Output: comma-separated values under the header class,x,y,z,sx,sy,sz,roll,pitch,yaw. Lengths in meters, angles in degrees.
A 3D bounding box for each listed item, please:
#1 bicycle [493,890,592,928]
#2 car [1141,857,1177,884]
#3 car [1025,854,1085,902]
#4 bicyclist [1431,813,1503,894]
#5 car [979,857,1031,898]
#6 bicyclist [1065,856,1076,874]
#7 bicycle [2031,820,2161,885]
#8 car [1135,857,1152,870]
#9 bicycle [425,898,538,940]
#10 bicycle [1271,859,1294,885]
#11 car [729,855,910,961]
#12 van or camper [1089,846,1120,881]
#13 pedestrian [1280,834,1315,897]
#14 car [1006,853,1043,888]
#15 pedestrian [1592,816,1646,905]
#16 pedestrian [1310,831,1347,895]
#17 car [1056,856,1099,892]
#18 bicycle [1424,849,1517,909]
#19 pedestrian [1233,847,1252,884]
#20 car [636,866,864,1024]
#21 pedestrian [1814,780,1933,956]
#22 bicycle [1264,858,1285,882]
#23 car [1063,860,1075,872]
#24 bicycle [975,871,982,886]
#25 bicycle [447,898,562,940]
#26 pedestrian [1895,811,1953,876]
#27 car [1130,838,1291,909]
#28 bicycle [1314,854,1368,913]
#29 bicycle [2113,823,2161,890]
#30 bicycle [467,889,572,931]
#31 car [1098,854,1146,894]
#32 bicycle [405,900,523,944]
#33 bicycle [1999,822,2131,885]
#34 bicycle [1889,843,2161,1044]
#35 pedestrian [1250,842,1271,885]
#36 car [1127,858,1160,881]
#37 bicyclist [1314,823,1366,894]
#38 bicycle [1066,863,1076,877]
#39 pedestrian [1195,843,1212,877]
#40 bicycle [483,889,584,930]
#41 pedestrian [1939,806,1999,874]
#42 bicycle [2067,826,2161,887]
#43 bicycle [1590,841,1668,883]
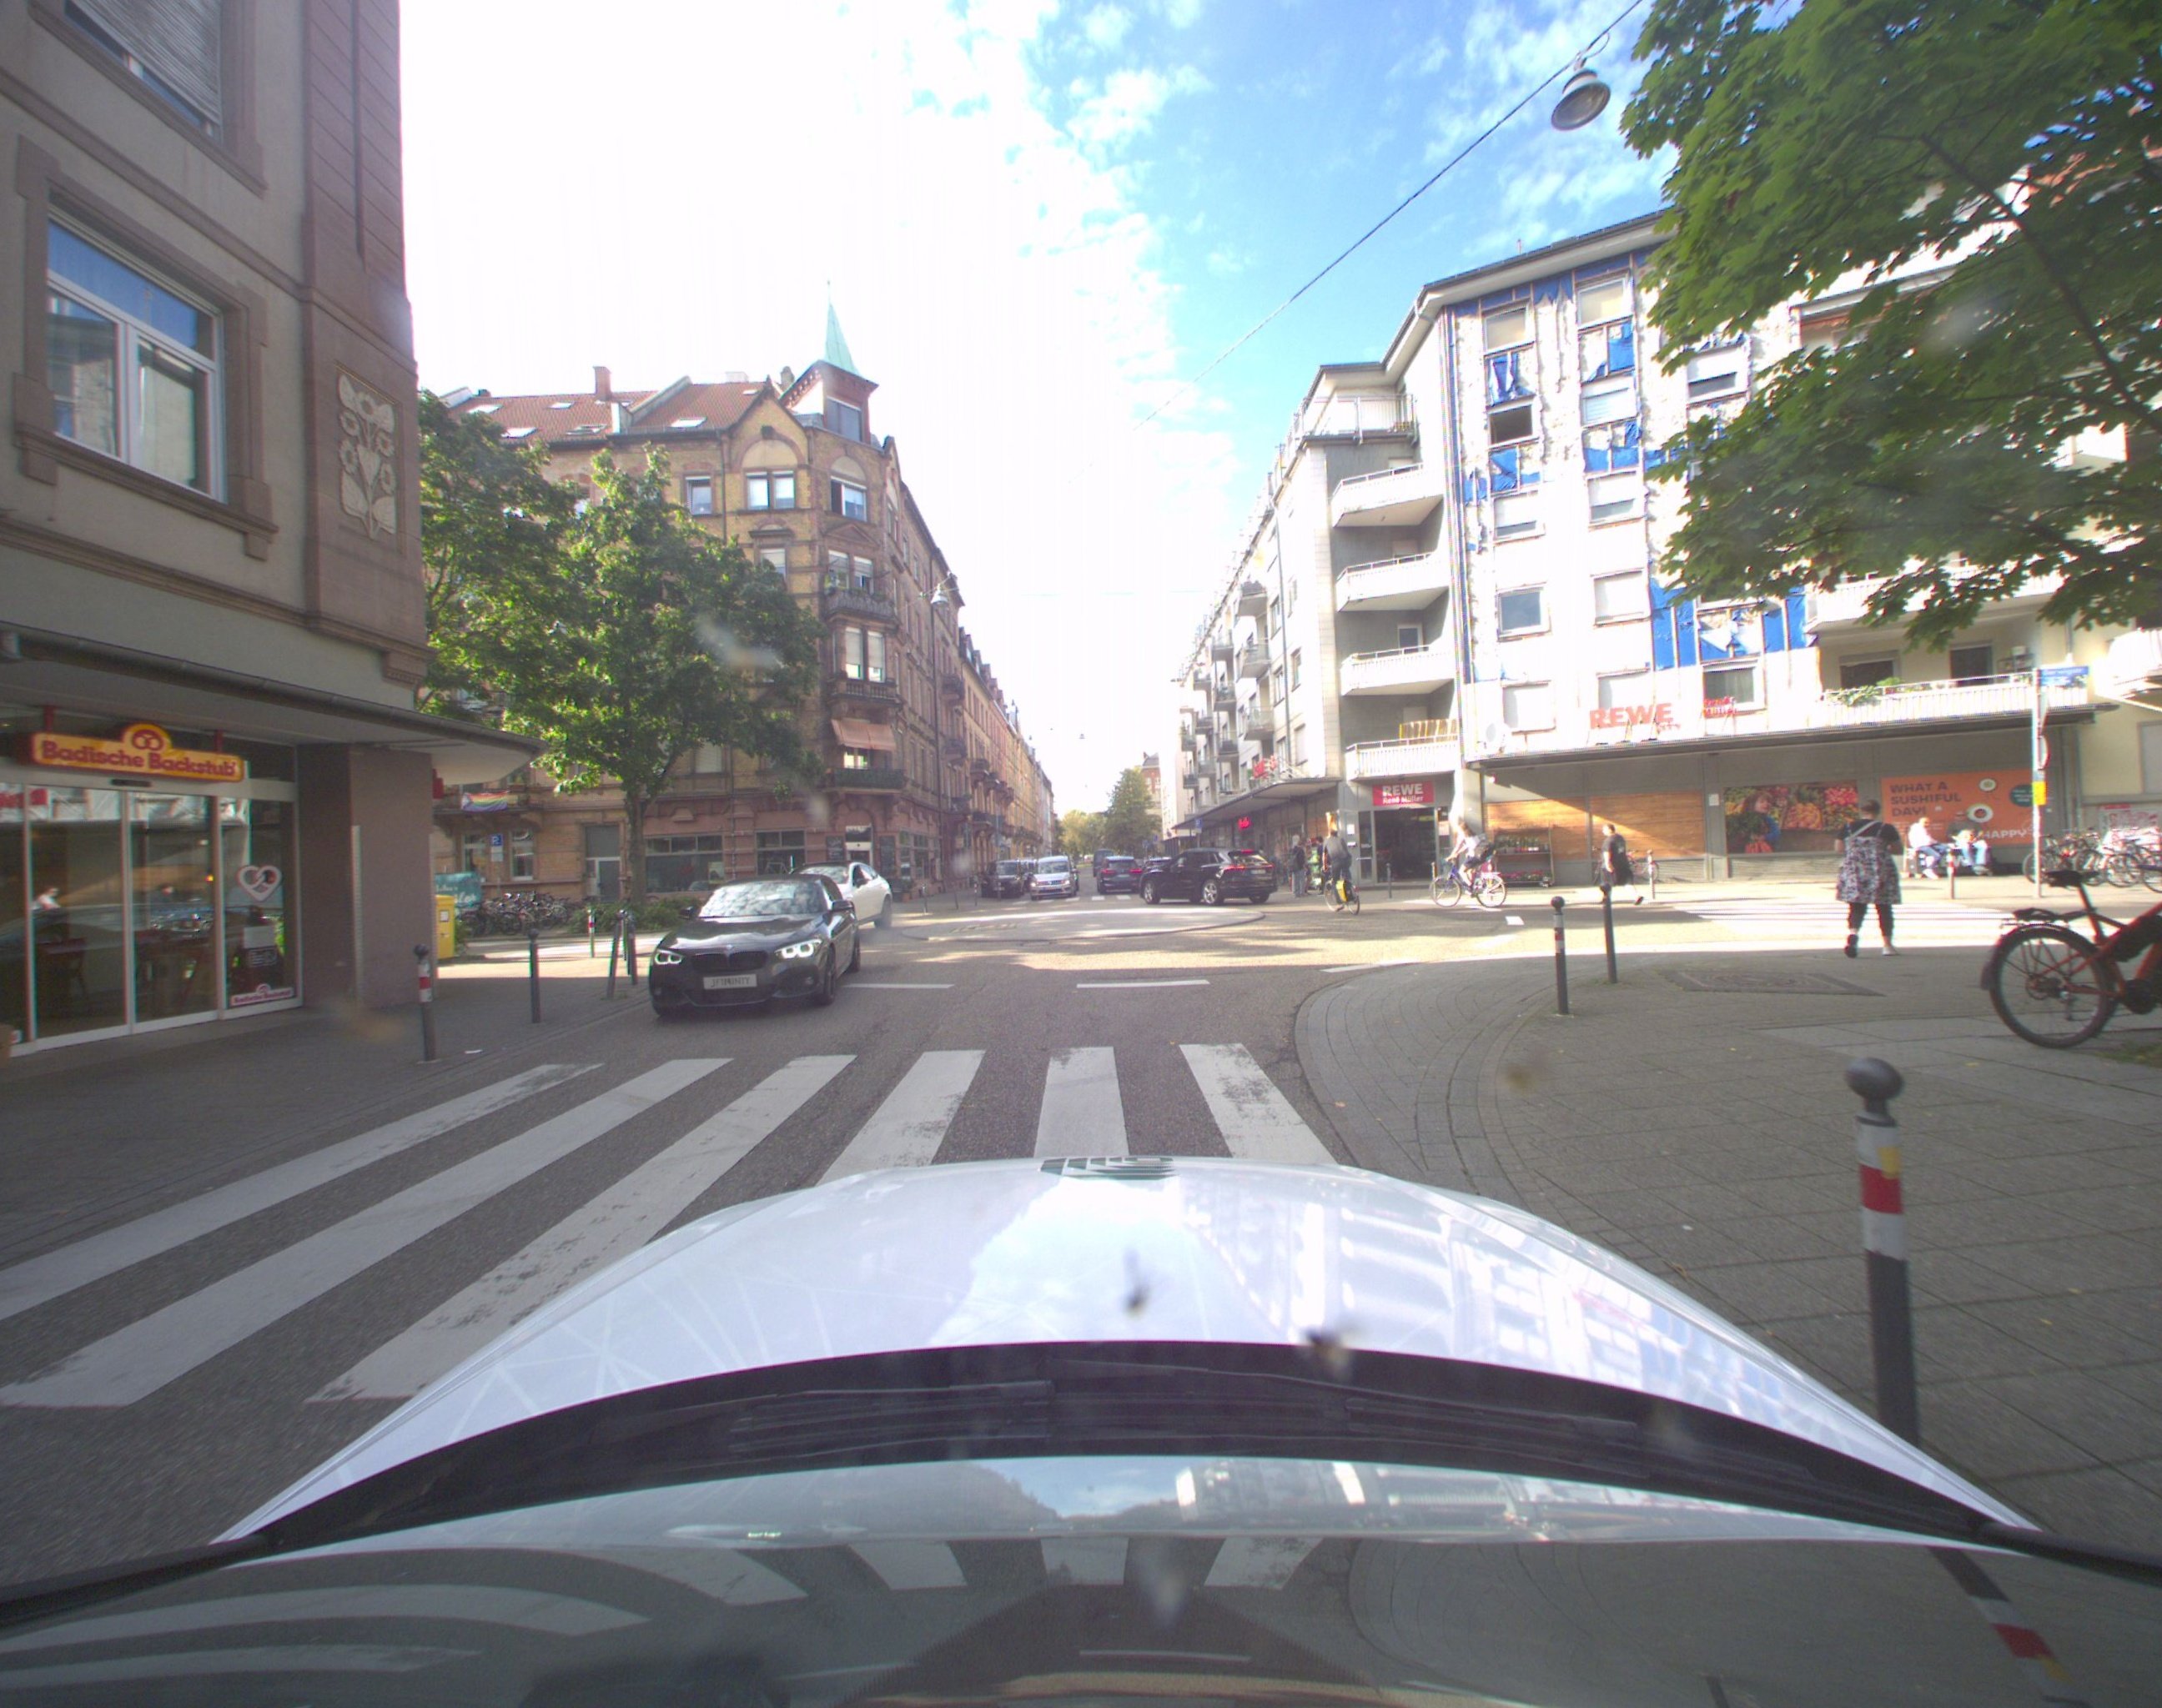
class,x,y,z,sx,sy,sz,roll,pitch,yaw
bicycle,-18.666,1.897,28.285,2.889,1.123,0.632,-3,-1,-3
car,4.253,0.873,44.737,1.639,1.324,3.578,-5,-1,2
car,-1.026,0.967,35.060,1.783,1.790,4.745,-4,-1,7
bicyclist,8.304,-0.006,17.569,0.940,1.668,1.013,-2,-1,-10
car,-3.616,1.100,39.307,1.775,1.724,4.449,-1,1,4
bicyclist,-1.152,1.174,87.323,1.130,1.998,1.027,0,-1,-4
bicycle,19.806,-0.035,15.801,2.131,1.141,0.485,-3,0,0
car,7.119,1.086,93.075,1.639,1.324,3.578,-5,-1,2
bicycle,-18.613,2.014,25.324,2.889,1.123,0.632,-3,-1,-3
bicycle,8.098,0.716,32.769,0.362,1.016,1.427,-2,0,-7
car,-5.355,1.008,17.506,1.934,1.722,4.855,-4,1,4
van or camper,2.149,0.827,75.289,2.524,3.037,4.456,-3,0,-1
pedestrian,6.521,0.337,24.547,0.864,1.851,0.613,-3,-1,6
car,-3.516,1.004,51.386,1.988,2.013,3.998,-3,0,-1
pedestrian,10.983,0.133,16.649,0.624,1.739,0.778,-3,-1,13
pedestrian,7.418,0.278,24.432,0.864,1.851,0.613,-3,-1,6
car,-0.124,1.009,43.830,1.919,1.724,4.740,-4,0,4
bicycle,8.360,0.518,17.584,0.710,1.199,1.967,-2,0,-12
pedestrian,7.284,0.528,36.661,0.740,1.629,0.815,-3,-1,12
car,-3.700,0.906,9.867,1.751,1.436,4.195,-1,-1,-11
pedestrian,8.500,0.147,8.778,0.774,1.780,0.798,-3,-1,39
bicycle,8.340,0.670,35.131,0.359,0.999,1.713,-2,0,-3
car,-2.080,2.050,140.019,1.987,2.013,4.000,-3,0,0
bicycle,-6.815,1.624,54.313,0.359,0.947,1.713,-2,0,-4
bicycle,-18.488,2.069,26.150,3.089,1.123,0.632,-3,-1,-3
pedestrian,20.013,-0.242,19.350,0.743,1.479,0.590,-3,-1,26
car,3.631,0.533,23.774,2.048,1.724,4.800,-4,1,-29
bicycle,5.553,0.599,17.527,0.662,1.178,2.502,-1,-1,8
bicycle,19.751,0.003,14.266,2.309,1.141,0.753,-2,0,1
bicycle,-18.550,1.837,26.939,2.889,1.190,0.632,-3,-1,-3
car,1.805,0.883,36.910,1.987,1.618,4.000,-3,0,1
bicycle,-18.635,2.040,24.640,2.889,1.123,0.725,-3,-1,-3
bicycle,19.738,-0.011,16.355,2.072,1.141,0.435,-3,0,0
bicycle,6.266,0.507,4.953,1.915,1.094,0.654,-3,-1,5
pedestrian,7.281,0.391,33.094,0.735,1.712,0.736,-3,-1,12
car,4.299,1.056,56.453,1.986,1.486,4.002,-3,0,2
bicyclist,5.532,0.101,17.445,0.928,1.484,0.749,-1,-1,7
bicycle,-1.114,1.667,87.346,0.923,1.489,3.459,0,-1,-3
pedestrian,6.905,0.351,45.975,0.725,1.864,1.067,-3,-1,16
bicycle,-18.575,1.869,27.674,2.889,1.197,0.632,-3,-1,-3
pedestrian,20.784,-0.314,19.077,0.740,1.550,0.736,-1,0,27
bicycle,19.855,0.023,15.151,2.049,1.032,0.753,-3,0,1
bicycle,14.650,0.226,21.798,1.663,1.050,0.461,-3,-1,40
